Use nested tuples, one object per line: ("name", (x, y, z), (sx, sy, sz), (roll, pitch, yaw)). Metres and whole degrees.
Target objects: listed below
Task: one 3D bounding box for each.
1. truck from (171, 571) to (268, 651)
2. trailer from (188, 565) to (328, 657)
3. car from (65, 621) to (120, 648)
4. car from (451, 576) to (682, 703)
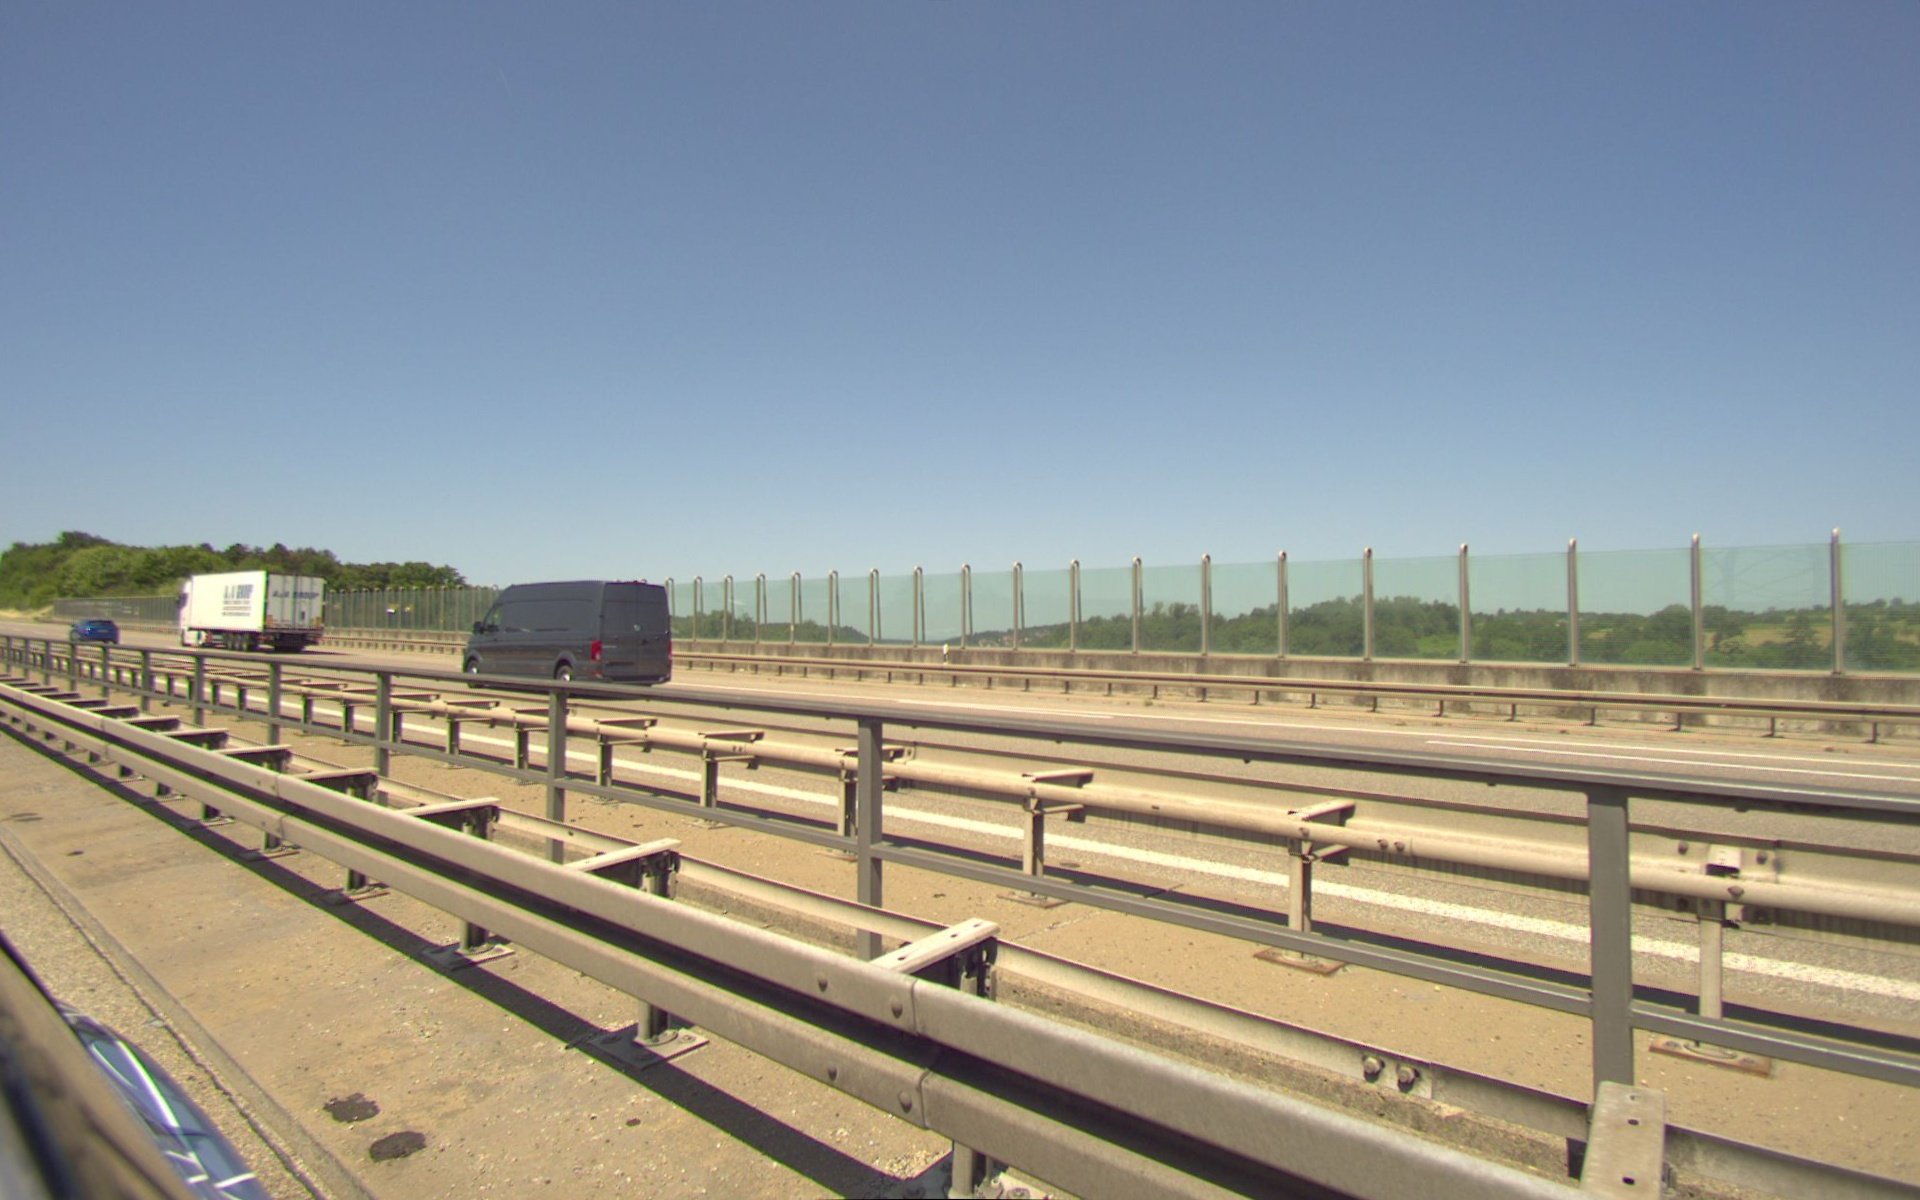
("truck", (-42.655, 0.653, 58.213), (6.855, 4.326, 2.898), (0, -3, 42))
("trailer", (-37.345, 0.597, 53.487), (13.657, 4.340, 2.875), (0, -2, 42))
("car", (-50.106, 1.959, 58.447), (4.602, 1.503, 1.754), (-1, -2, 41))
("car", (-9.347, 0.863, 23.653), (6.644, 2.602, 1.973), (0, -3, 40))
